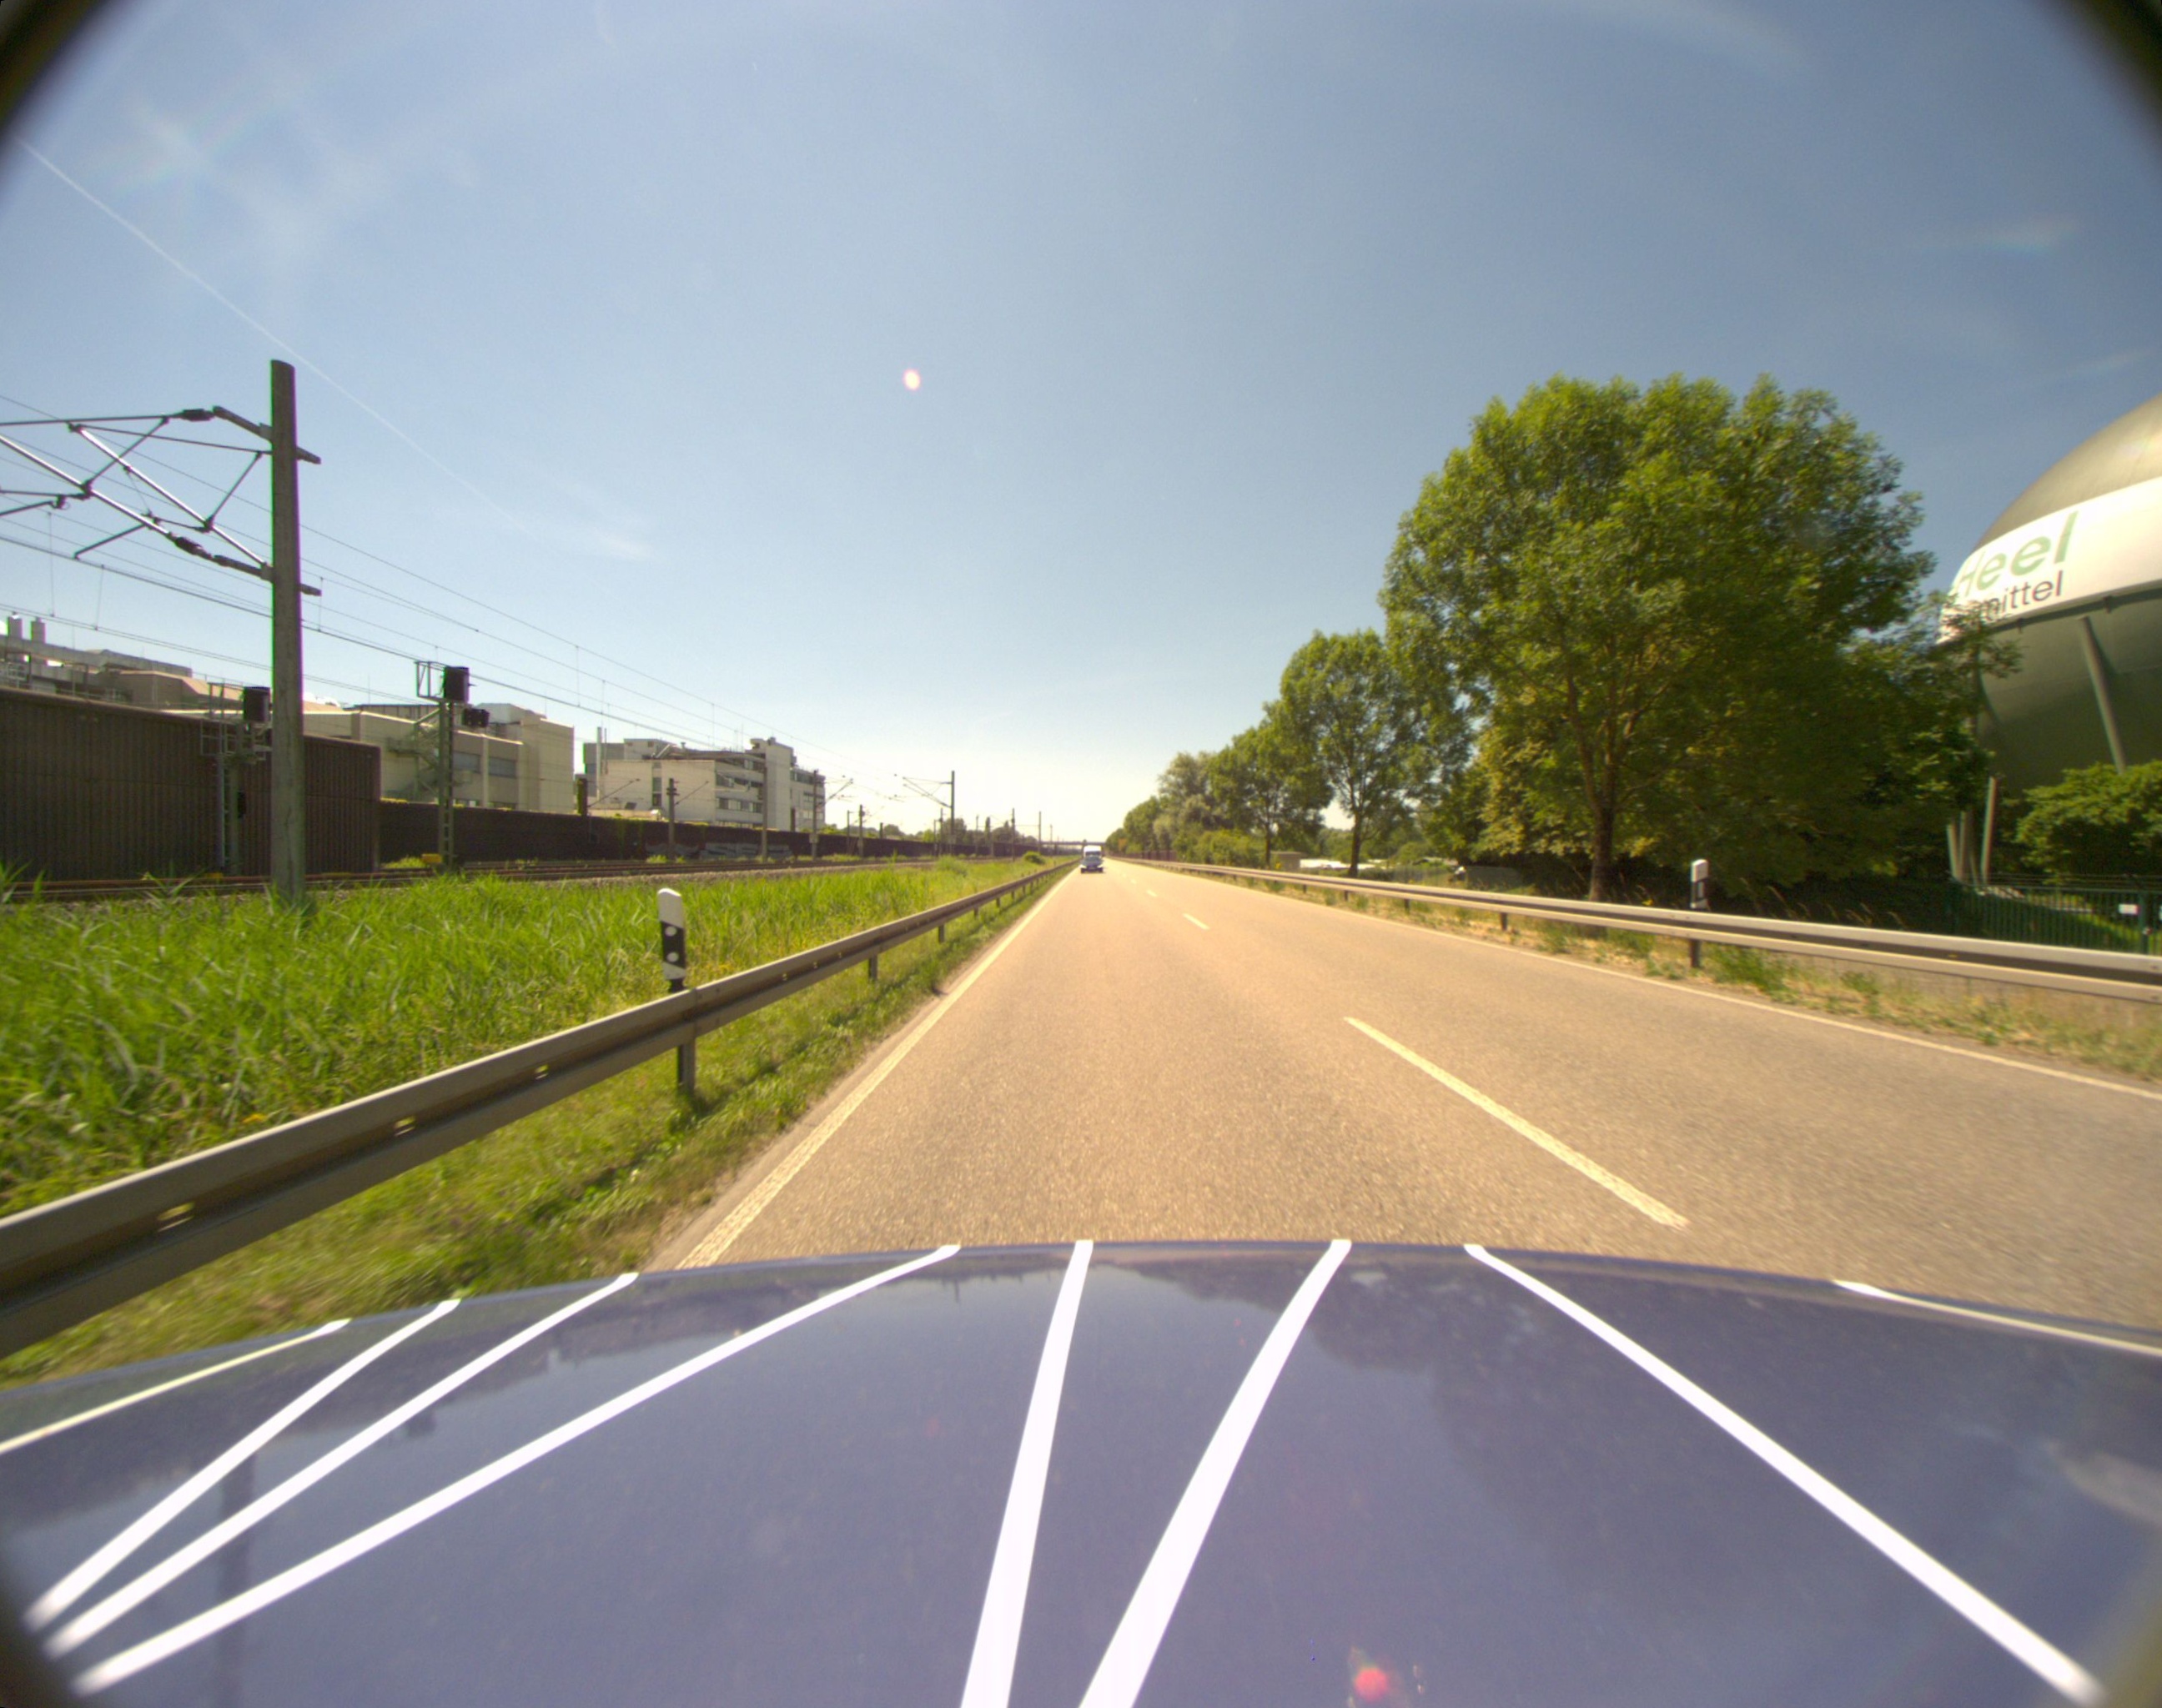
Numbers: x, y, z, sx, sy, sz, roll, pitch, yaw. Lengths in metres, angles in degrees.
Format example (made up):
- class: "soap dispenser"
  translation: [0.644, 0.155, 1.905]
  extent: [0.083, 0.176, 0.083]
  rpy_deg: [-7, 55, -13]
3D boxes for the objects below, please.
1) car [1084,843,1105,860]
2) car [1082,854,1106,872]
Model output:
- class: "car"
  translation: [1.476, -0.283, 84.587]
  extent: [2.161, 1.701, 4.493]
  rpy_deg: [-2, 0, 1]
- class: "car"
  translation: [1.026, 0.680, 60.482]
  extent: [1.758, 1.313, 4.000]
  rpy_deg: [-2, 0, 1]
